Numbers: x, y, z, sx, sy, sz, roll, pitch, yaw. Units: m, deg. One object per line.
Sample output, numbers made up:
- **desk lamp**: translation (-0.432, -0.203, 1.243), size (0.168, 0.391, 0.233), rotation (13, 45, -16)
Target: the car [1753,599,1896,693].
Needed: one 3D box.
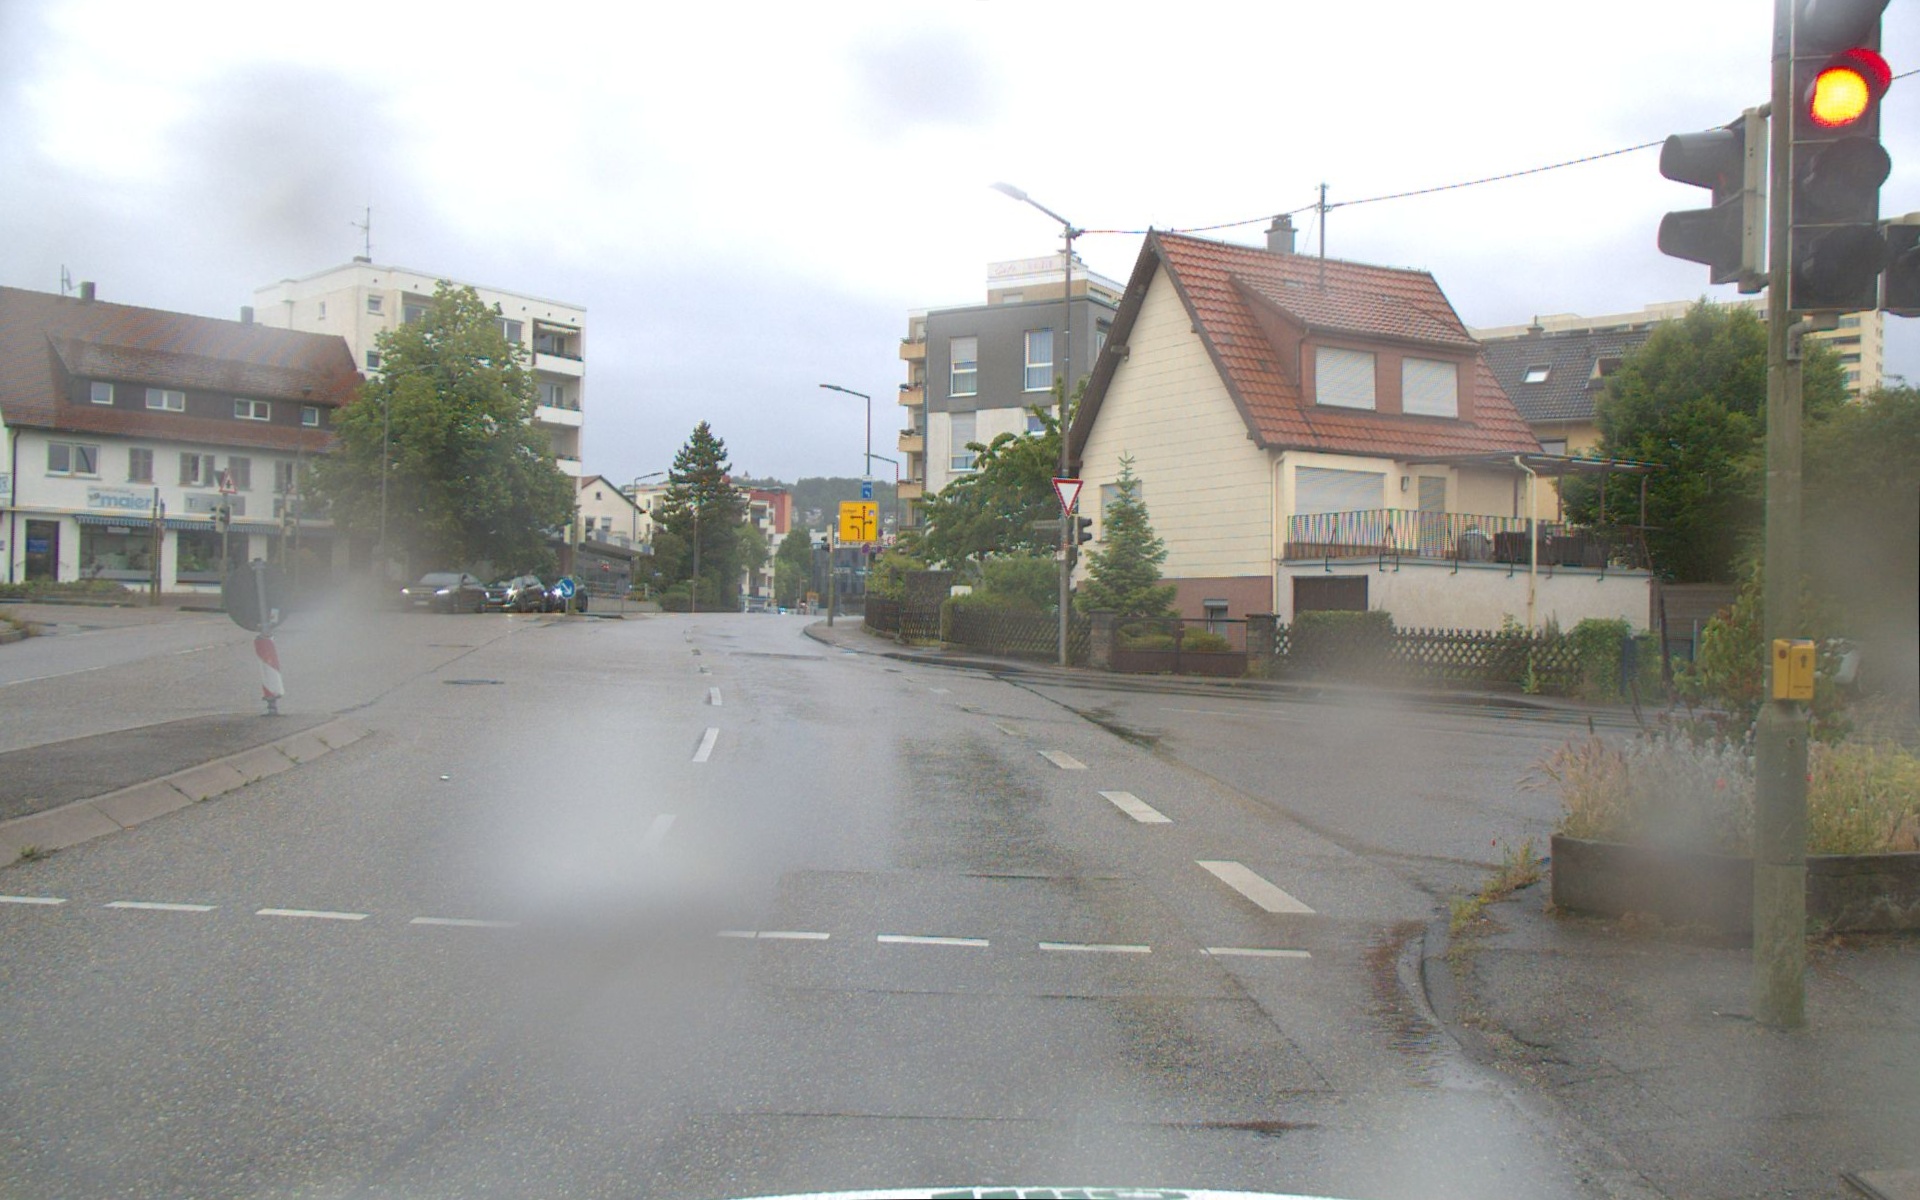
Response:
- **car**: translation (15.627, 0.780, 29.796), size (1.710, 1.541, 3.985), rotation (1, 1, 36)

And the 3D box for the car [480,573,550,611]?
- **car**: translation (-17.548, -0.333, 65.387), size (1.680, 1.411, 4.020), rotation (1, 1, -1)

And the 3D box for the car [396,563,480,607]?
- **car**: translation (-18.243, -0.517, 57.928), size (1.742, 1.445, 3.830), rotation (1, 1, -1)

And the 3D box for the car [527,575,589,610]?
- **car**: translation (-17.252, -0.344, 71.151), size (1.742, 1.445, 3.830), rotation (1, 1, -1)
